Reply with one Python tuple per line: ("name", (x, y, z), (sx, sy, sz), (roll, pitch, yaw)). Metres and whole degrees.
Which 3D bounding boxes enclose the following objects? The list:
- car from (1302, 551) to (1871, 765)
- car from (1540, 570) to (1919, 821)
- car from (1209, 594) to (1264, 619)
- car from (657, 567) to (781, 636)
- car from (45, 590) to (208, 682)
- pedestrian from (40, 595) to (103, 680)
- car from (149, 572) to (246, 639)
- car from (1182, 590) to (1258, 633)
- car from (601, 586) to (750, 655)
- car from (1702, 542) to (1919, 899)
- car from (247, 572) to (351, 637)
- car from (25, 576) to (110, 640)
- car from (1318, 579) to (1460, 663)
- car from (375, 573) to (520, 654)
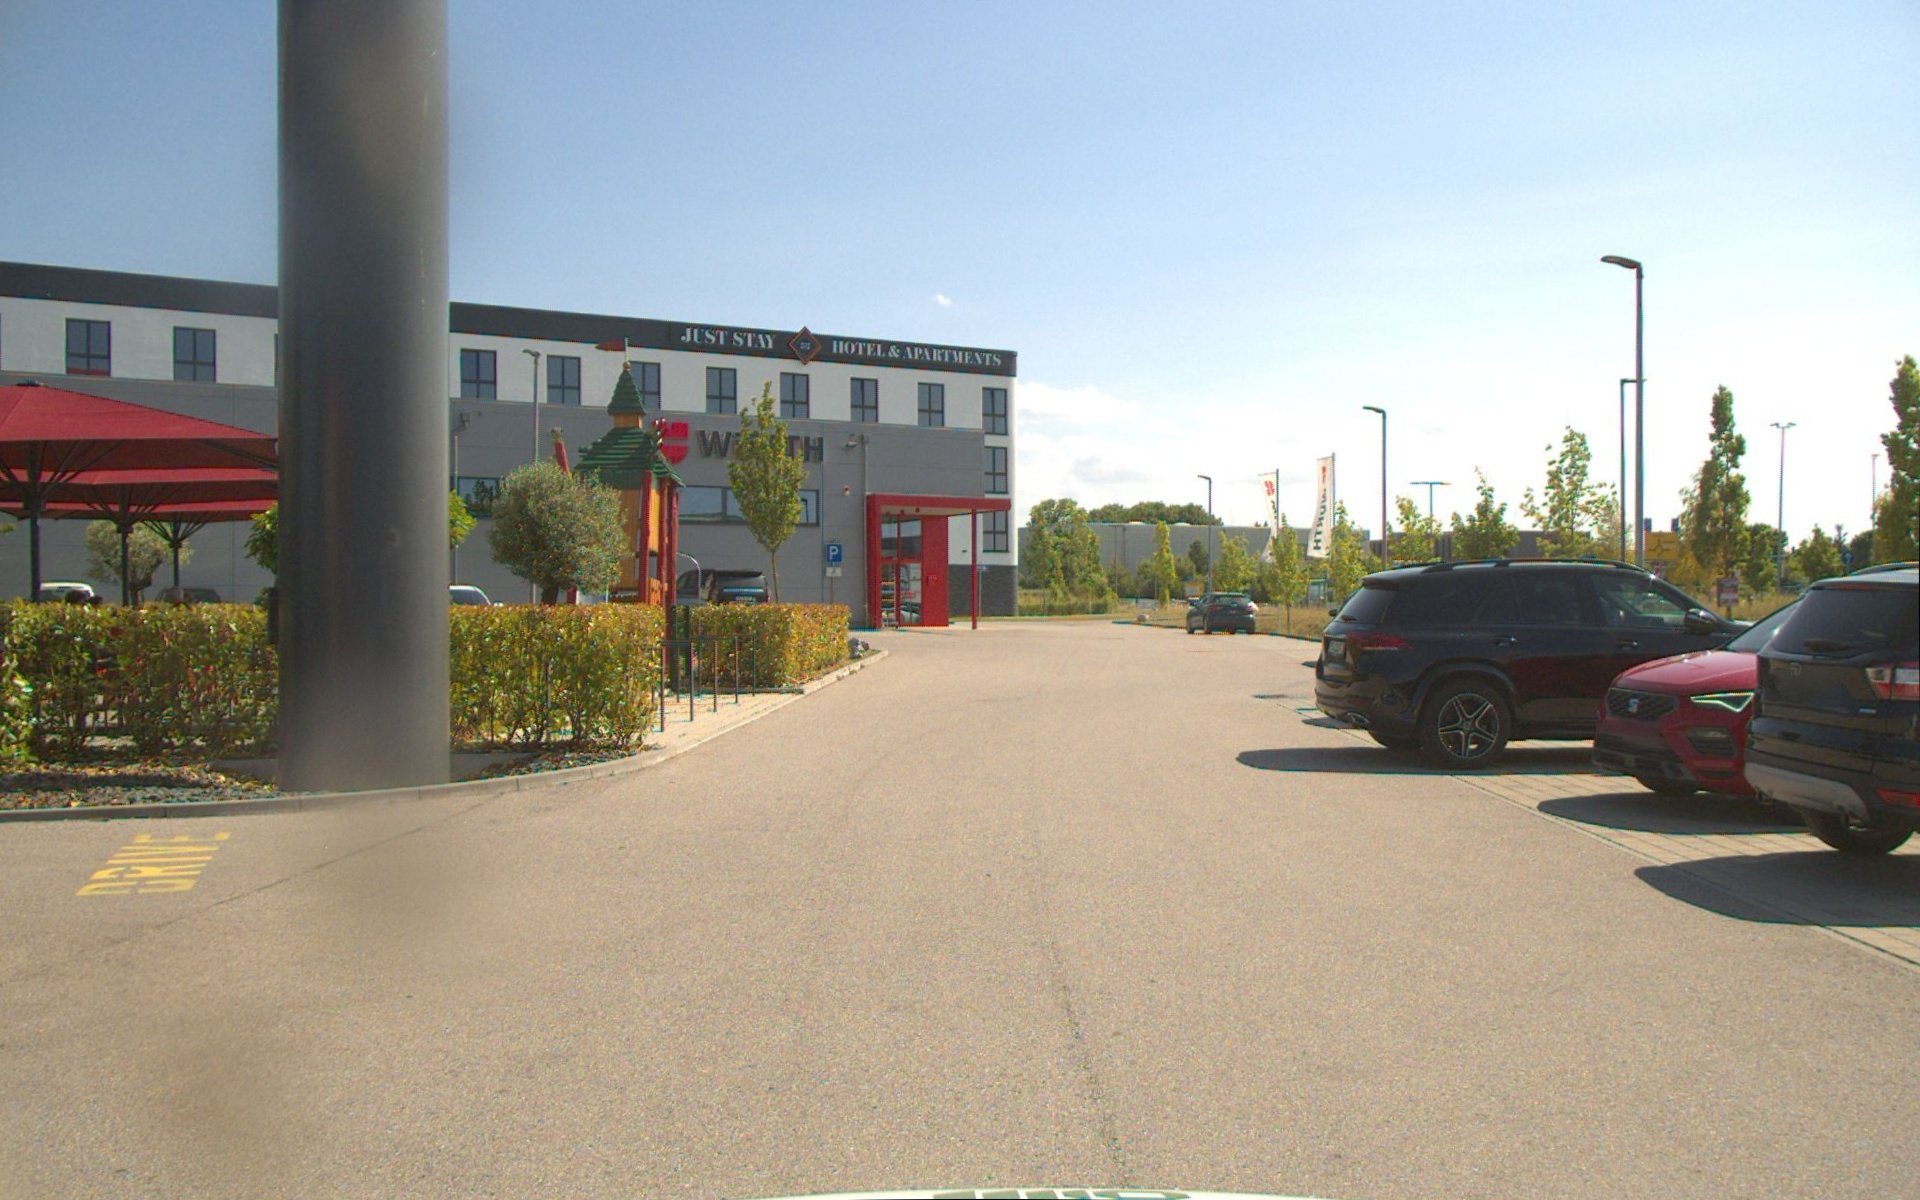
("car", (5.578, 0.499, 15.109), (4.483, 1.791, 1.895), (1, 0, -2))
("car", (6.608, 0.625, 12.298), (4.003, 1.637, 1.887), (1, 1, -17))
("car", (17.526, 0.370, 104.916), (1.843, 1.509, 3.981), (0, 1, -17))
("car", (-7.059, 0.007, 48.018), (2.048, 1.913, 4.833), (0, 1, -29))
("car", (-13.097, 0.518, 26.201), (1.616, 1.331, 3.824), (0, 0, -16))
("pedestrian", (-11.880, 0.493, 22.124), (0.565, 1.108, 0.544), (0, 1, -4))
("car", (-19.466, 0.091, 42.138), (1.860, 1.613, 4.066), (0, 1, -31))
("car", (8.900, 0.381, 56.913), (1.665, 1.431, 3.892), (0, 0, -6))
("car", (-6.335, 0.404, 36.477), (1.843, 1.386, 4.331), (0, 1, -31))
("car", (6.605, 0.606, 9.068), (4.231, 1.732, 1.895), (1, 0, -3))
("car", (-17.441, 0.079, 43.559), (1.928, 1.613, 4.331), (0, 1, -31))
("car", (-22.049, 0.160, 40.812), (1.714, 1.513, 3.910), (0, 1, -31))
("car", (8.401, 0.379, 32.727), (1.798, 1.502, 4.121), (-2, 0, 1))
("car", (-10.630, 0.219, 34.135), (1.928, 1.557, 4.331), (0, 1, -31))
